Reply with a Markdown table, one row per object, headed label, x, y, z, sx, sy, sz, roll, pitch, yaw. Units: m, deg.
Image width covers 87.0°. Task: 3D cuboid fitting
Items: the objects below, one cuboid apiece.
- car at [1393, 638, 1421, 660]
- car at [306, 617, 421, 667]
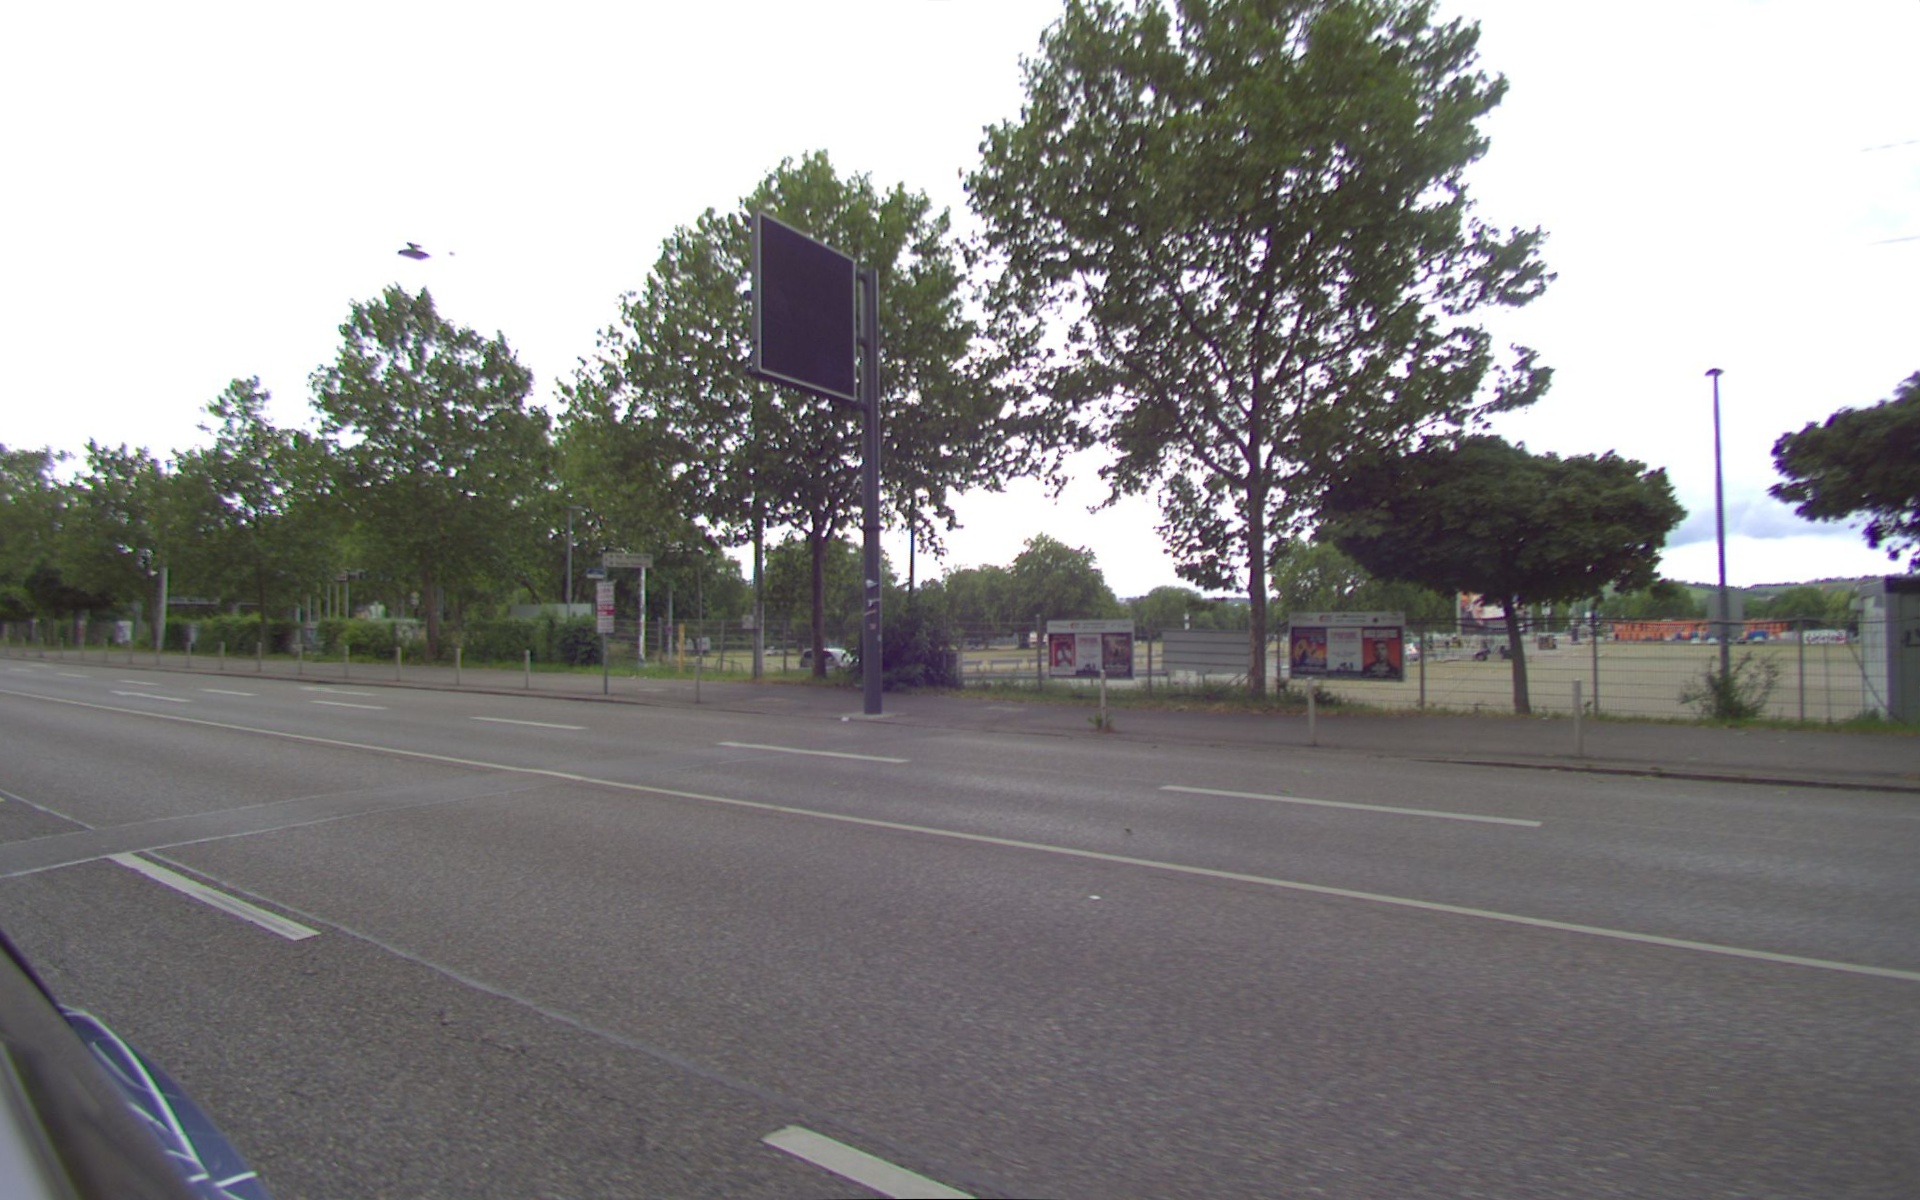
| label | x | y | z | sx | sy | sz | roll | pitch | yaw |
| --- | --- | --- | --- | --- | --- | --- | --- | --- | --- |
| car | 39.566 | 4.292 | 89.477 | 1.991 | 1.716 | 3.949 | -1 | 0 | 28 |
| car | -25.546 | 1.772 | 43.305 | 4.620 | 2.029 | 2.368 | -1 | -2 | 32 |
